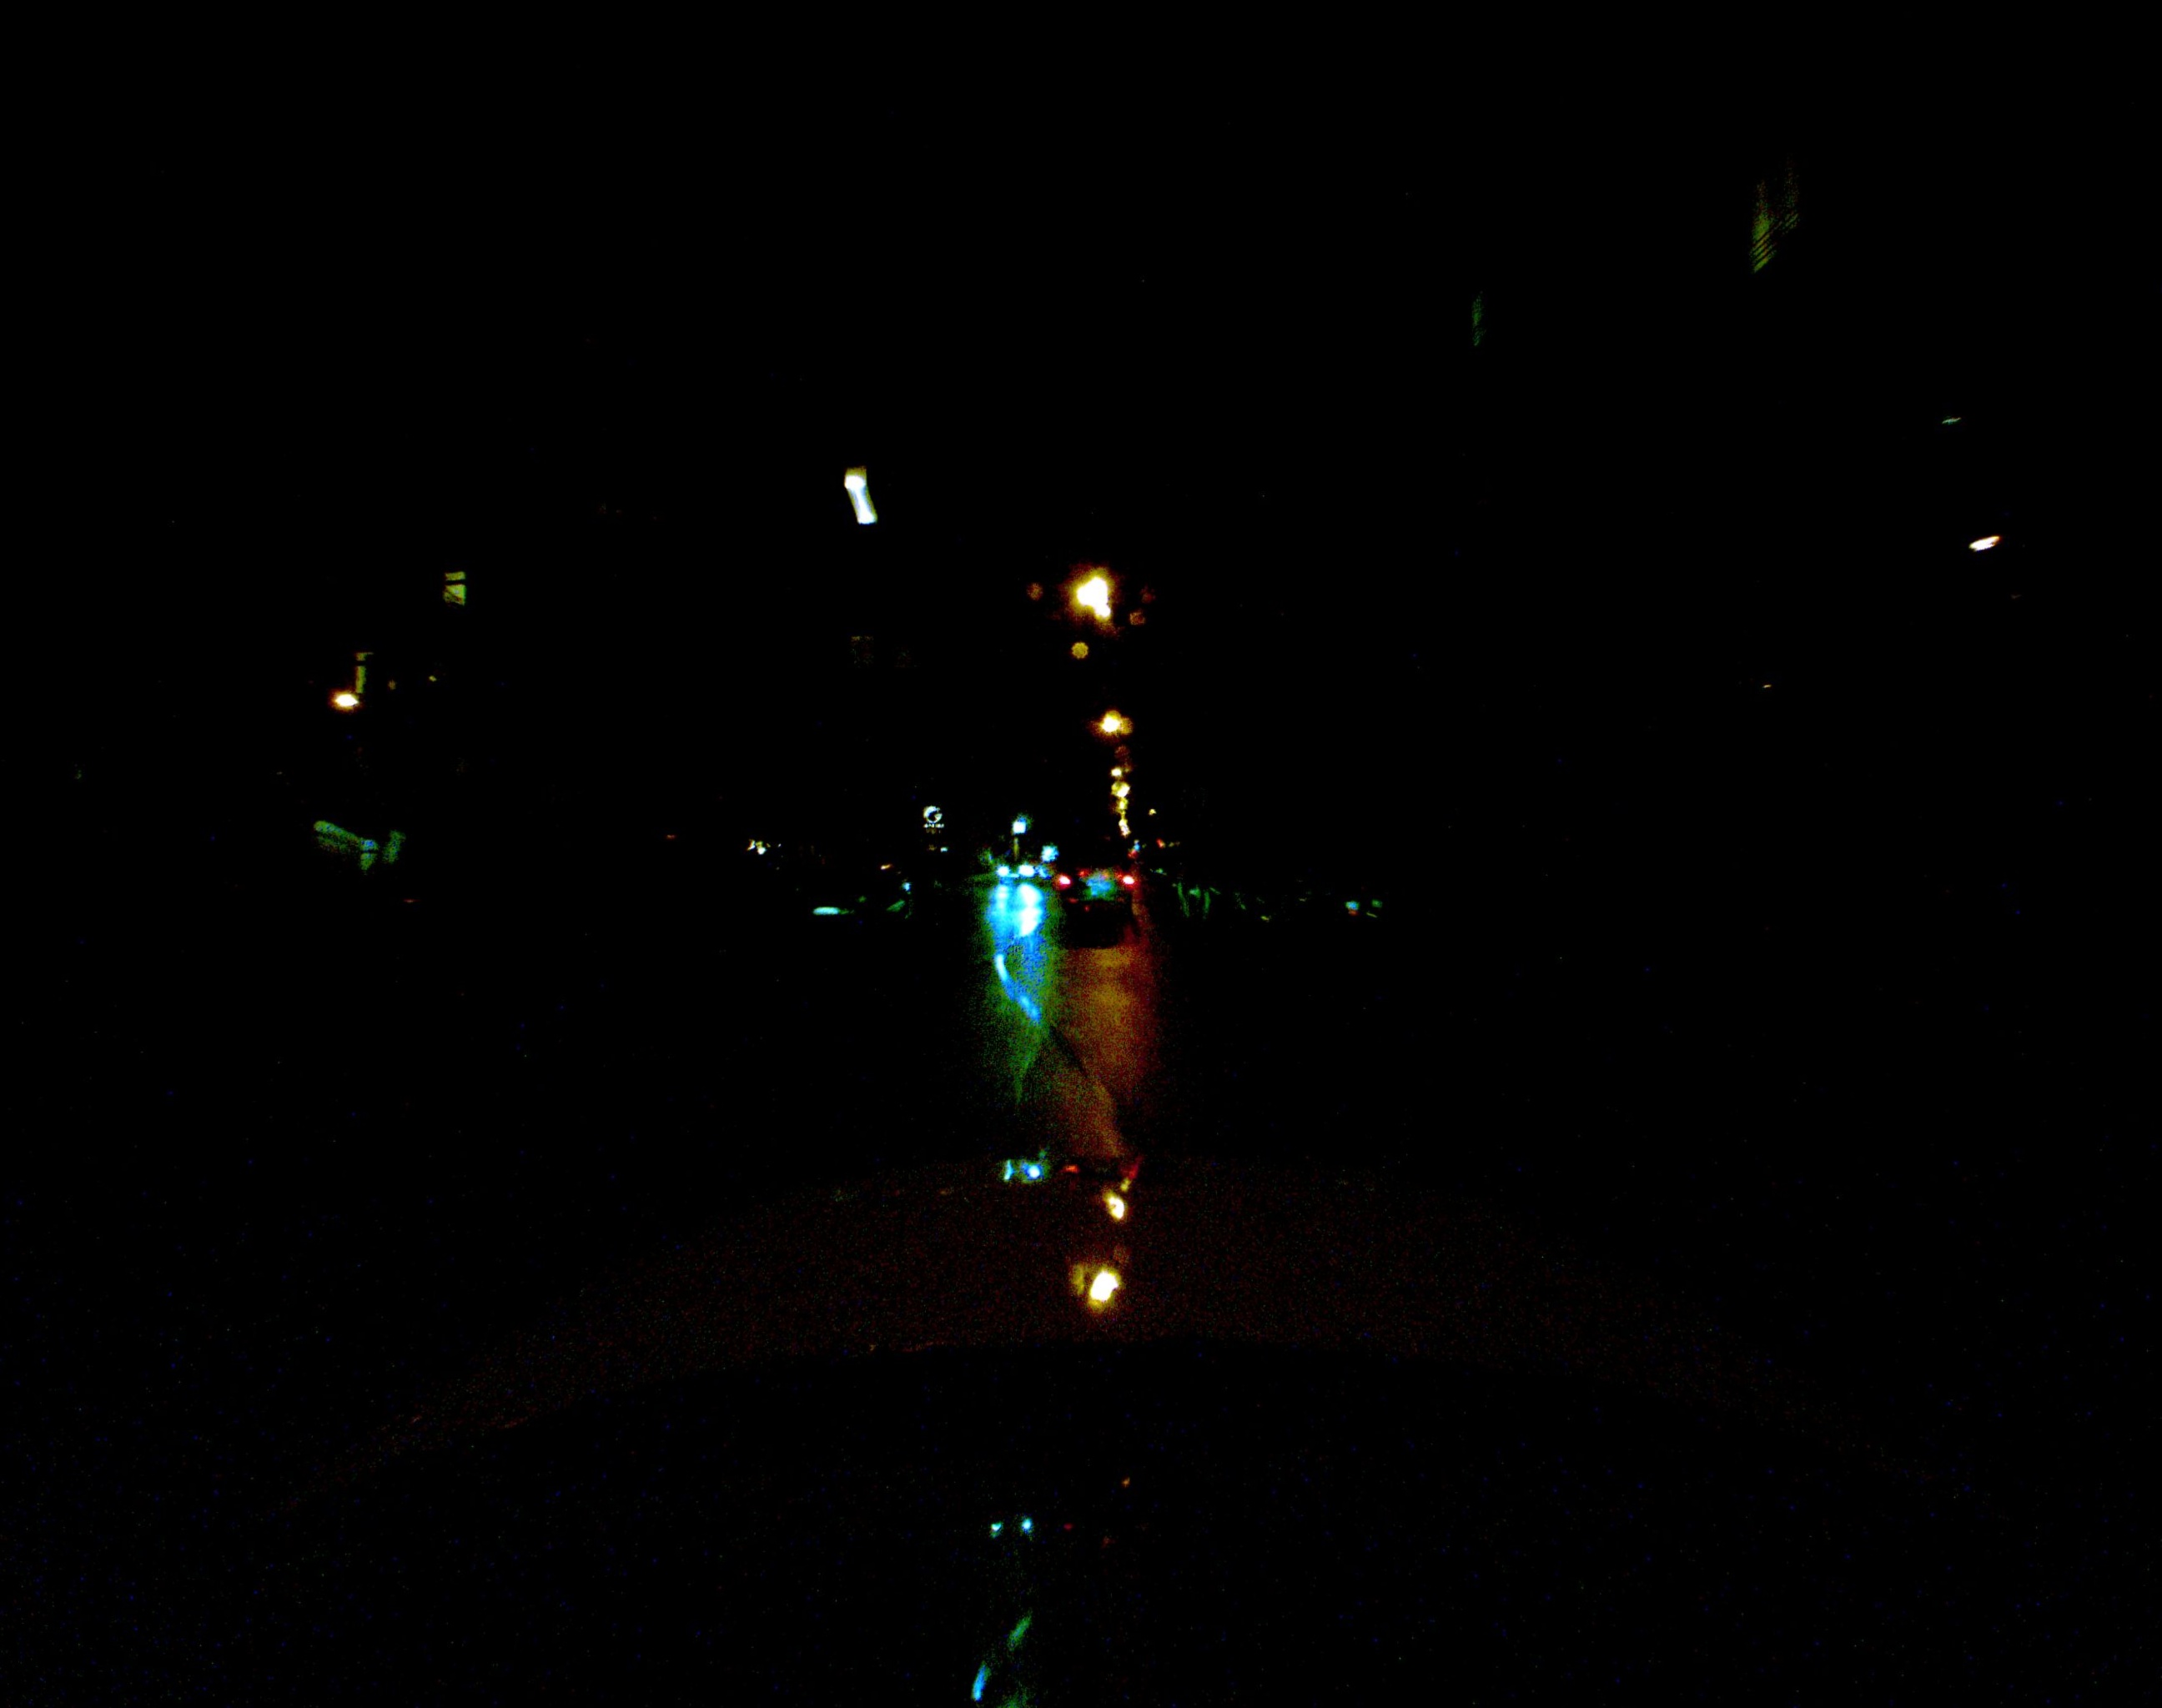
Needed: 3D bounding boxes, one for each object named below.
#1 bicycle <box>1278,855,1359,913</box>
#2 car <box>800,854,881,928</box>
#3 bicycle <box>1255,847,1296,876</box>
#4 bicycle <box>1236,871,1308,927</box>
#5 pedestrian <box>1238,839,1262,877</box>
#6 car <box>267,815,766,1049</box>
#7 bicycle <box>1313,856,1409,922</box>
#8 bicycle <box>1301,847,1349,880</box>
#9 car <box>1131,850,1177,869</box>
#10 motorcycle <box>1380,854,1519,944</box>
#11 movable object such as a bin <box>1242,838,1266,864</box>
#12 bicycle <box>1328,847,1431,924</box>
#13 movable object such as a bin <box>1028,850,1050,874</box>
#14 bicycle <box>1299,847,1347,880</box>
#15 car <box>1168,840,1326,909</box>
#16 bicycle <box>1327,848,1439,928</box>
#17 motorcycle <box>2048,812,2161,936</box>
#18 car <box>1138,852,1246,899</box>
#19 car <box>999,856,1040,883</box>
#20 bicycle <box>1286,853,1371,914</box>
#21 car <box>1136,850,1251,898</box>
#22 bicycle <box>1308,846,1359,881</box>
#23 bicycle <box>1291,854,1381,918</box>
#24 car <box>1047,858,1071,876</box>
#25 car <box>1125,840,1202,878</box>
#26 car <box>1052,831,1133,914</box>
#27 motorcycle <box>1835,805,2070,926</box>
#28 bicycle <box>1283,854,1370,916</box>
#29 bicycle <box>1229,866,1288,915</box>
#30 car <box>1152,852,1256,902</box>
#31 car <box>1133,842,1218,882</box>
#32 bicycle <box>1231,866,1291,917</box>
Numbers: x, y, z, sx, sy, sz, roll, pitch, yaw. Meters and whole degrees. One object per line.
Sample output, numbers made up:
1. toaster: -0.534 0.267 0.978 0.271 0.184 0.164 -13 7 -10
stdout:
1. bicycle: 5.120 0.650 17.607 1.585 1.158 0.541 -3 0 10
2. car: -5.282 0.750 18.161 1.549 1.443 3.545 1 0 -14
3. bicycle: 10.036 0.377 42.121 1.960 1.335 0.784 -4 -1 9
4. bicycle: 3.467 0.815 14.801 1.207 0.948 0.302 -3 0 -1
5. pedestrian: 8.602 0.215 41.437 0.836 1.835 0.947 -6 -2 -1
6. car: -5.501 0.633 8.977 1.858 1.846 4.832 -2 0 4
7. bicycle: 5.141 0.635 15.003 1.591 1.112 0.417 -3 0 -1
8. bicycle: 9.458 0.370 31.550 1.683 1.146 0.428 -4 0 -6
9. car: 6.373 0.500 71.217 3.686 1.460 1.592 -2 0 -22
10. motorcycle: 5.157 0.607 11.444 1.629 1.124 0.652 -4 0 -5
11. movable object such as a bin: 10.529 -0.196 49.621 1.204 1.451 0.999 -5 -1 3
12. bicycle: 5.120 0.541 14.017 1.572 1.234 0.418 -3 0 5
13. movable object such as a bin: -2.688 0.510 52.328 1.202 1.459 1.108 1 0 5
14. bicycle: 9.542 0.372 32.082 1.683 1.146 0.485 -4 0 -6
15. car: 4.337 0.500 21.262 3.716 1.522 1.644 -3 -1 -23
16. bicycle: 4.992 0.551 13.503 1.656 1.234 0.386 -3 0 5
17. motorcycle: 10.716 0.190 7.760 0.521 1.207 2.126 -1 0 2
18. car: 4.034 0.750 29.674 3.565 1.611 1.702 0 0 -19
19. car: -3.288 0.827 44.113 1.647 1.359 4.225 -1 0 3
20. bicycle: 5.120 0.599 16.857 1.591 1.158 0.417 -3 0 -1
21. car: 4.428 0.740 32.081 4.110 1.764 1.845 0 0 -22
22. bicycle: 9.206 0.348 29.724 1.683 1.146 0.428 -4 0 -6
23. bicycle: 4.992 0.618 15.969 1.591 1.158 0.417 -3 0 -1
24. car: -1.874 1.081 69.735 1.679 1.455 4.318 0 0 3
25. car: 5.380 0.325 52.814 4.744 2.248 1.926 -2 -1 -34
26. car: 0.400 0.479 22.252 1.985 2.050 4.003 -1 -1 3
27. motorcycle: 10.584 0.120 10.027 0.521 1.318 2.123 -1 0 -4
28. bicycle: 4.937 0.619 16.411 1.591 1.158 0.417 -3 0 -1
29. bicycle: 3.764 0.763 17.290 1.128 0.948 0.267 -4 0 0
30. car: 4.027 0.716 26.680 3.048 1.552 1.495 0 0 -19
31. car: 5.054 0.407 43.300 4.263 1.858 1.699 -3 -1 -33
32. bicycle: 3.756 0.777 17.024 1.128 0.974 0.249 -4 0 0
